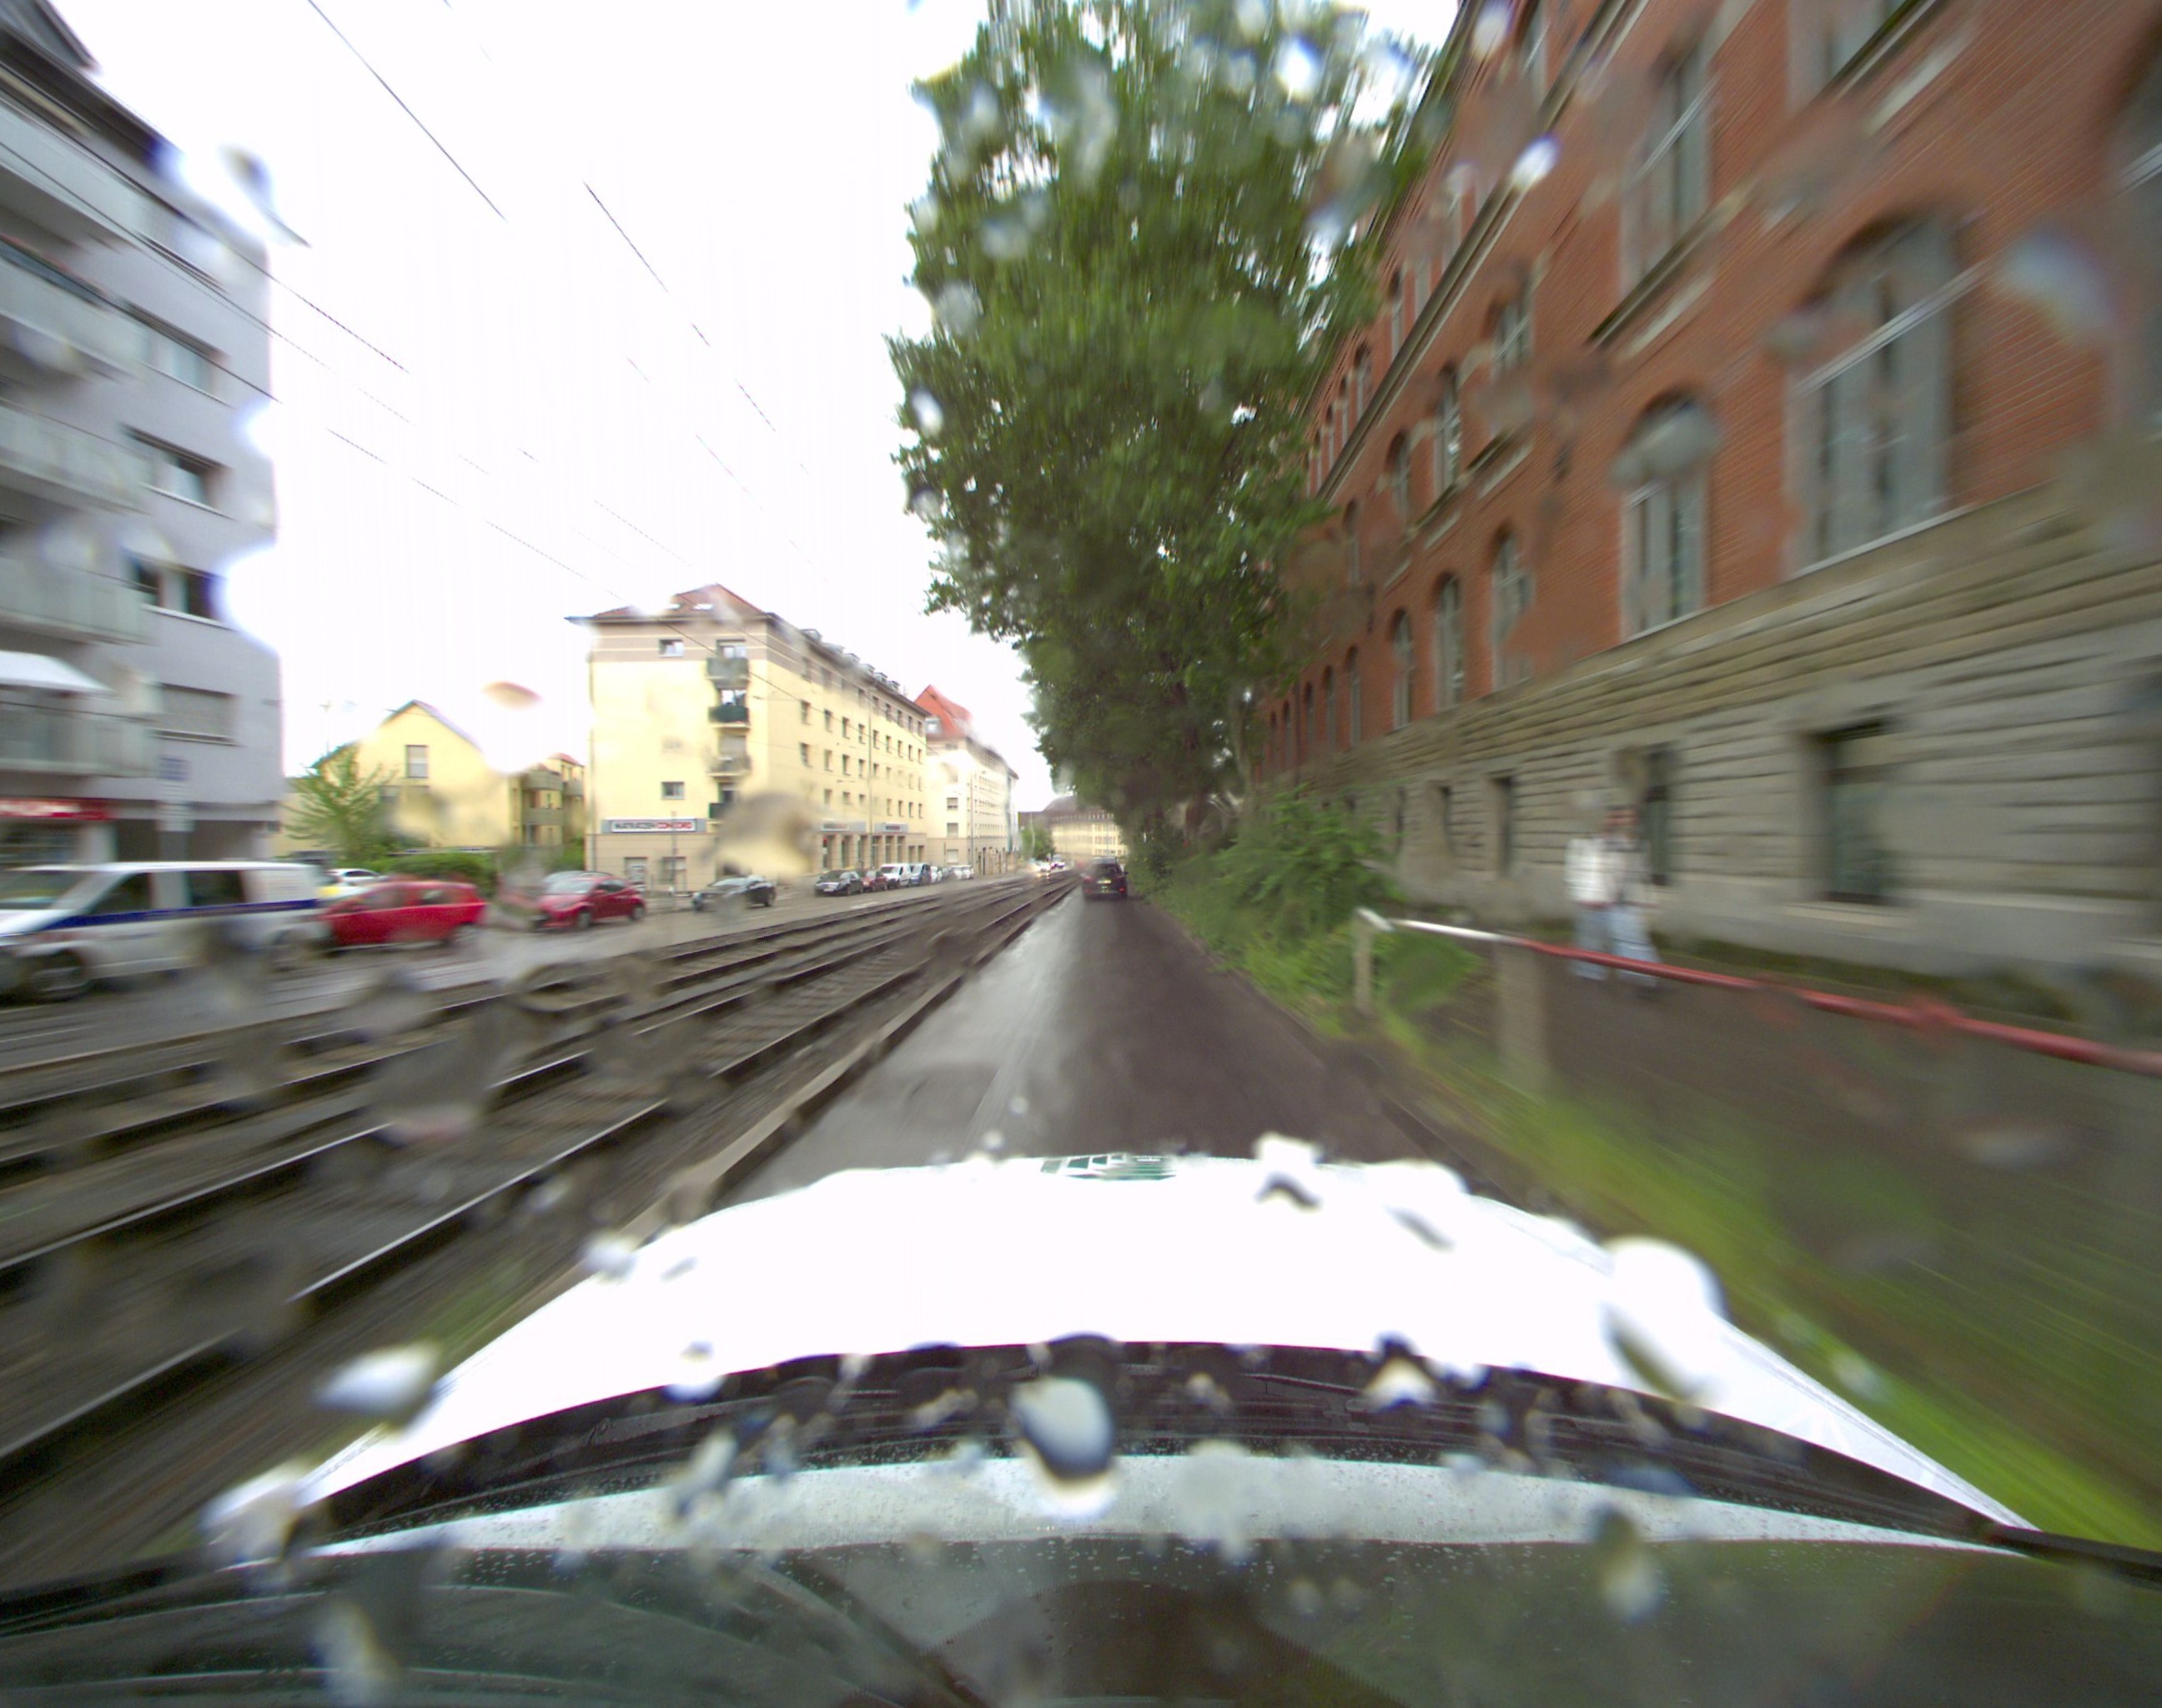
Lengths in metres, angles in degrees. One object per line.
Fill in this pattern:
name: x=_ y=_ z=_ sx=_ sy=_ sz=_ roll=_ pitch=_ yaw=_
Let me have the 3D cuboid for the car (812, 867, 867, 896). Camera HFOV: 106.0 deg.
car: x=-13.700 y=1.536 z=46.476 sx=1.847 sy=1.508 sz=4.986 roll=-1 pitch=-1 yaw=-3

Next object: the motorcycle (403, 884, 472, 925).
motorcycle: x=-19.996 y=1.535 z=25.359 sx=0.637 sy=1.200 sz=1.785 roll=2 pitch=-2 yaw=1

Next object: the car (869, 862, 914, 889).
car: x=-13.406 y=1.492 z=57.893 sx=1.859 sy=1.717 sz=4.463 roll=-2 pitch=-1 yaw=3

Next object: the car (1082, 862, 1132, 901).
car: x=1.007 y=1.077 z=33.429 sx=1.927 sy=1.453 sz=4.317 roll=-1 pitch=-1 yaw=0

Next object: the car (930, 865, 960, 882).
car: x=-12.446 y=1.779 z=74.730 sx=1.806 sy=1.499 sz=4.585 roll=0 pitch=0 yaw=2

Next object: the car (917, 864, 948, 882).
car: x=-12.589 y=1.613 z=69.197 sx=1.685 sy=1.439 sz=4.051 roll=-1 pitch=0 yaw=2

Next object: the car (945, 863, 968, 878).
car: x=-12.499 y=1.603 z=81.908 sx=1.699 sy=1.396 sz=3.934 roll=-1 pitch=0 yaw=-1

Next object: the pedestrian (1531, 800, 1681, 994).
pedestrian: x=4.821 y=0.382 z=7.551 sx=0.819 sy=1.678 sz=0.861 roll=-2 pitch=-1 yaw=5

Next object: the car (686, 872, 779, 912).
car: x=-14.002 y=1.492 z=33.032 sx=1.674 sy=1.396 sz=4.623 roll=-2 pitch=-1 yaw=1

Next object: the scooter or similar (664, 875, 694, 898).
scooter or similar: x=-20.070 y=1.619 z=40.673 sx=1.288 sy=1.112 sz=0.379 roll=0 pitch=0 yaw=-5

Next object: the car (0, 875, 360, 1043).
car: x=-15.123 y=1.452 z=13.131 sx=2.062 sy=2.009 sz=5.305 roll=1 pitch=0 yaw=2

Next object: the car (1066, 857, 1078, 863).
car: x=-2.607 y=1.867 z=241.157 sx=2.003 sy=1.542 sz=3.967 roll=-3 pitch=0 yaw=-24

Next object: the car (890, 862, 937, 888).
car: x=-13.035 y=1.607 z=63.795 sx=1.983 sy=1.905 sz=5.468 roll=0 pitch=0 yaw=6

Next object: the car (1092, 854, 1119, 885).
car: x=1.660 y=1.026 z=56.157 sx=1.734 sy=2.014 sz=3.904 roll=-1 pitch=-1 yaw=1

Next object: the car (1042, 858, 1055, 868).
car: x=-5.232 y=1.406 z=131.083 sx=1.704 sy=1.462 sz=4.284 roll=-2 pitch=0 yaw=3

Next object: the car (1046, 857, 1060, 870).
car: x=-5.383 y=1.828 z=156.708 sx=1.985 sy=2.452 sz=6.002 roll=-2 pitch=-1 yaw=3

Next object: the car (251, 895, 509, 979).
car: x=-15.228 y=1.717 z=17.888 sx=1.762 sy=1.434 sz=4.007 roll=-1 pitch=-1 yaw=36

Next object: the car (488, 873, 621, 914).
car: x=-20.734 y=1.517 z=32.318 sx=1.860 sy=1.303 sz=4.489 roll=-1 pitch=0 yaw=9

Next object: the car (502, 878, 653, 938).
car: x=-14.529 y=1.506 z=23.799 sx=1.646 sy=1.451 sz=4.078 roll=-2 pitch=-1 yaw=4

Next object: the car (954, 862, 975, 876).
car: x=-12.288 y=1.548 z=86.314 sx=1.702 sy=1.450 sz=3.541 roll=1 pitch=0 yaw=0

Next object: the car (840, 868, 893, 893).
car: x=-13.647 y=1.657 z=52.104 sx=1.844 sy=1.432 sz=4.835 roll=0 pitch=0 yaw=3
